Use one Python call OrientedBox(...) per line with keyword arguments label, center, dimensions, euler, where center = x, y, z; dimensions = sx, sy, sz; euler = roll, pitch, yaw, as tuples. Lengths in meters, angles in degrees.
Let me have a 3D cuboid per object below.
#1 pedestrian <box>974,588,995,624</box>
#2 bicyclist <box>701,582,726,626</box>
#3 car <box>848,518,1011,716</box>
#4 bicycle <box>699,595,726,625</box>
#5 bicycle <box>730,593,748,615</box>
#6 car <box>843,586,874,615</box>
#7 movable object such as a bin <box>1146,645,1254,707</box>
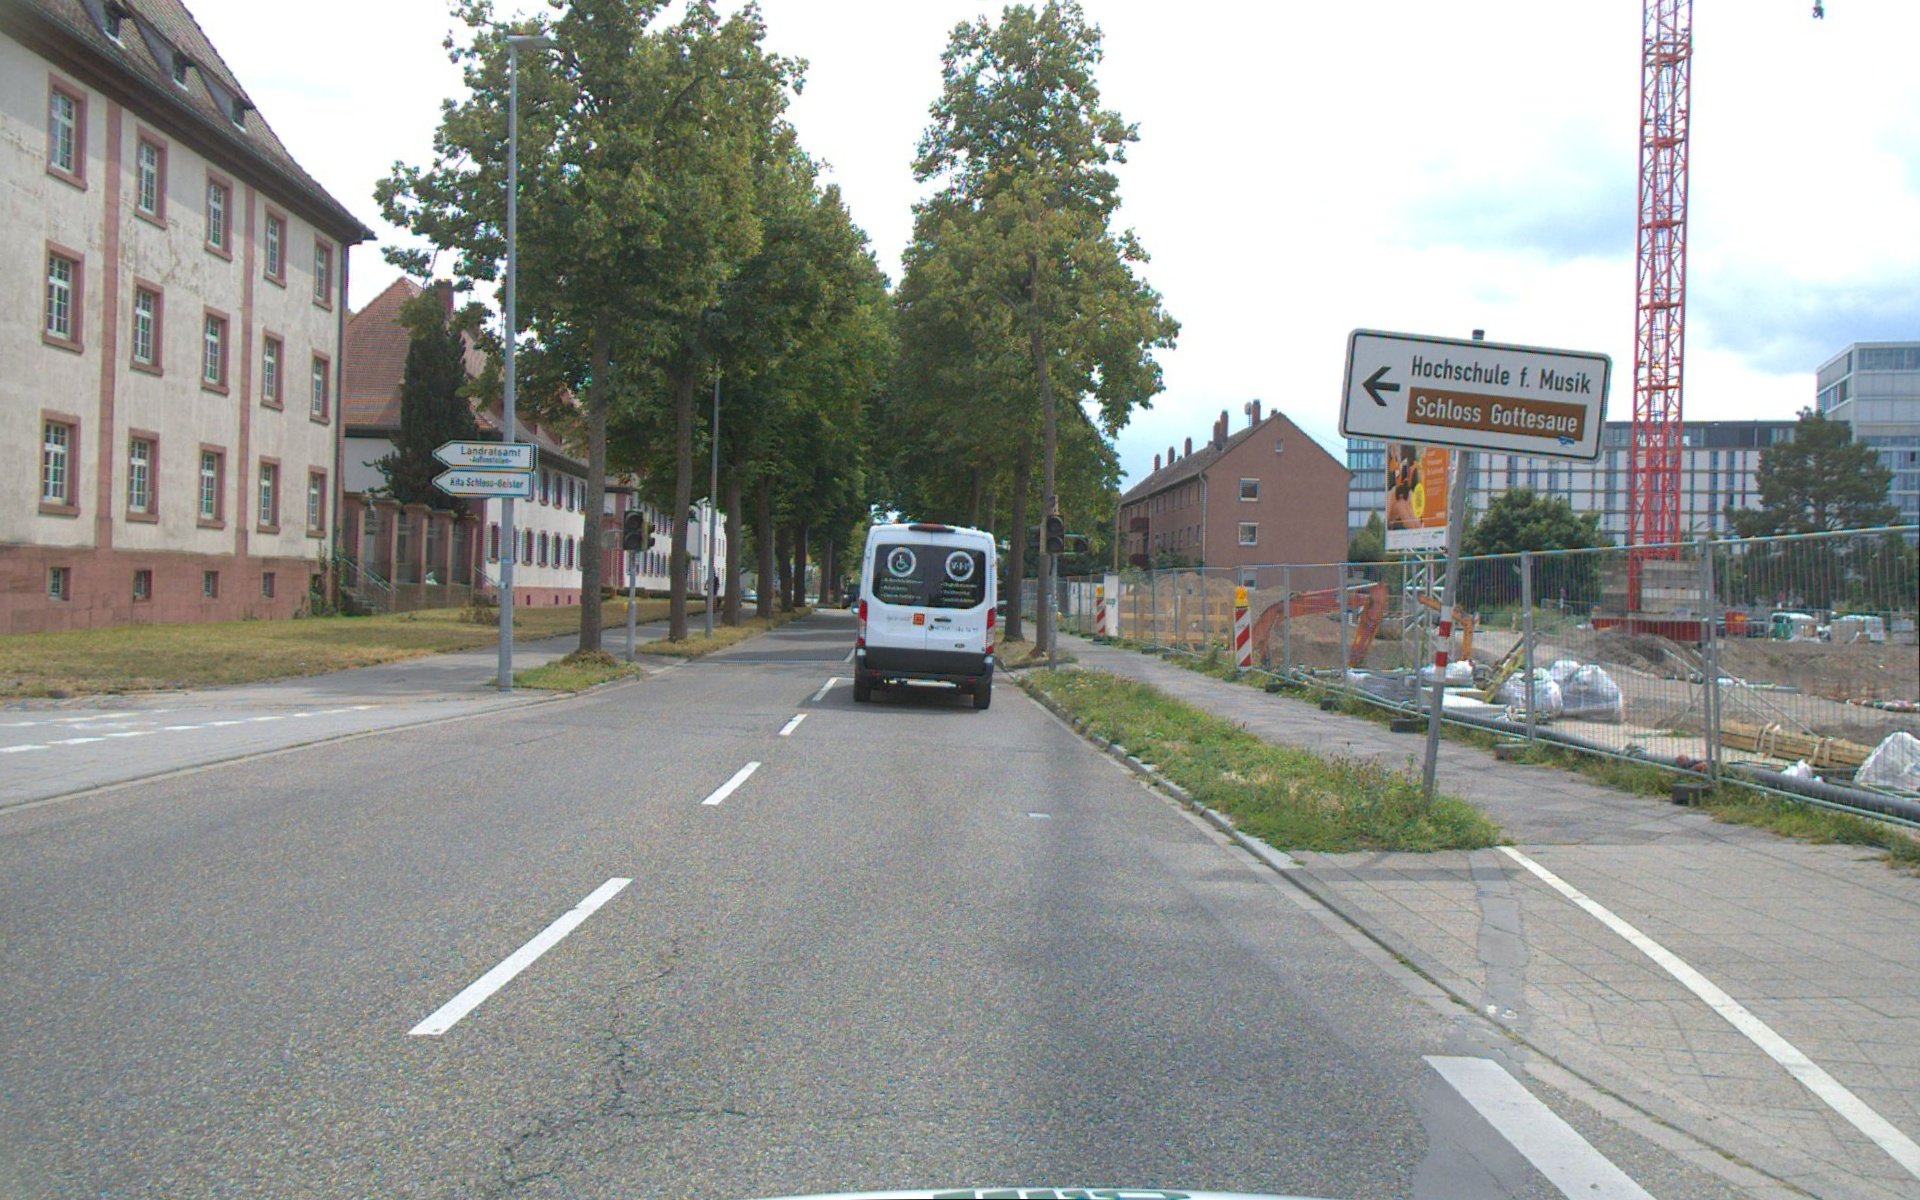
OrientedBox(label="pedestrian", center=(1.234, 0.297, 84.602), dimensions=(0.864, 1.846, 0.889), euler=(0, -1, 17))
OrientedBox(label="bicyclist", center=(-9.791, 0.162, 65.683), dimensions=(0.708, 1.684, 0.958), euler=(5, -1, -2))
OrientedBox(label="car", center=(-0.551, 0.258, 24.549), dimensions=(2.023, 2.584, 3.995), euler=(3, -1, -5))
OrientedBox(label="bicycle", center=(-9.808, 0.391, 65.658), dimensions=(0.708, 1.114, 2.150), euler=(5, 0, -2))
OrientedBox(label="bicycle", center=(-12.207, 0.222, 91.417), dimensions=(0.708, 1.114, 2.224), euler=(5, 0, -2))
OrientedBox(label="car", center=(-6.223, 0.040, 101.677), dimensions=(1.736, 1.688, 4.255), euler=(-1, 0, -2))
OrientedBox(label="movable object such as a bin", center=(10.707, 3.332, 73.606), dimensions=(4.582, 2.635, 3.135), euler=(0, -1, 12))
